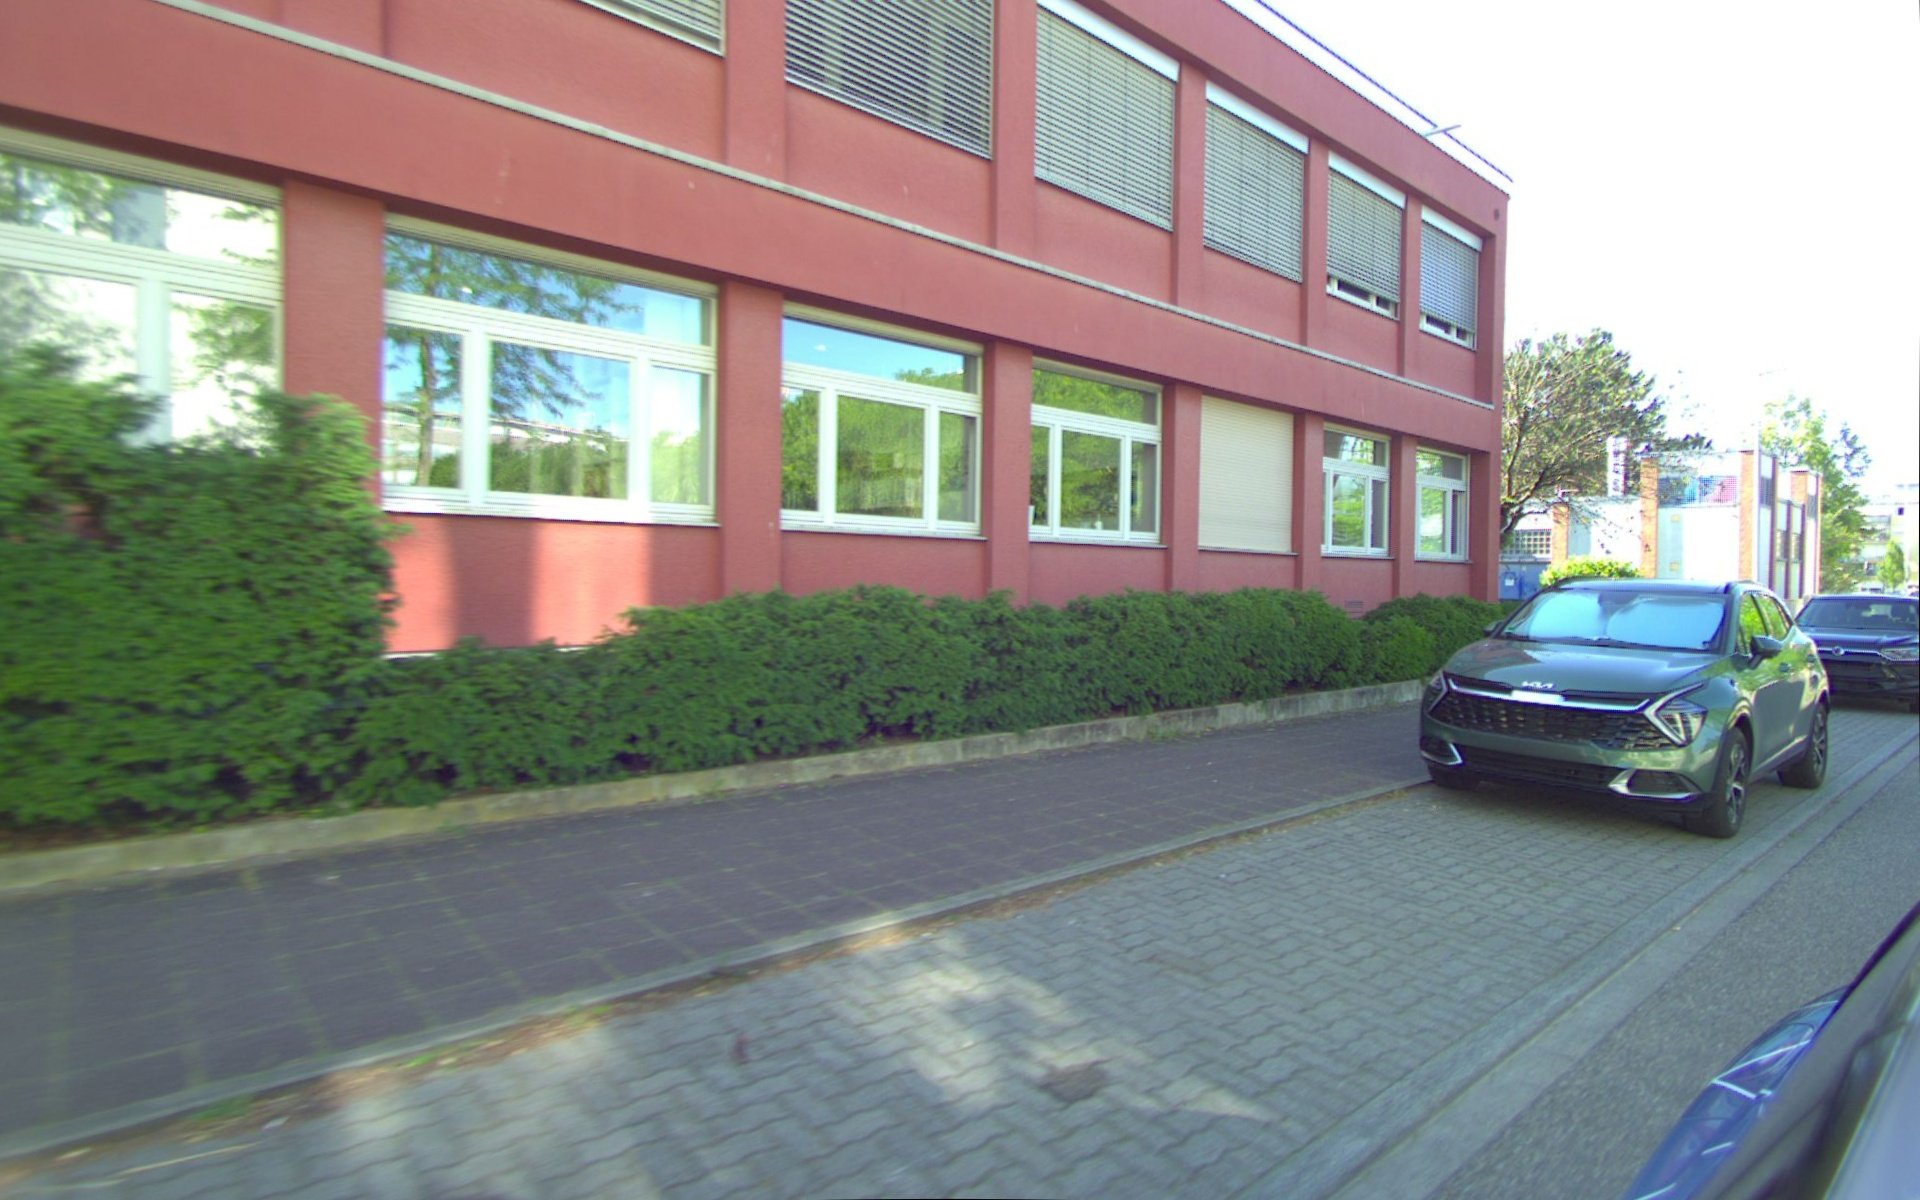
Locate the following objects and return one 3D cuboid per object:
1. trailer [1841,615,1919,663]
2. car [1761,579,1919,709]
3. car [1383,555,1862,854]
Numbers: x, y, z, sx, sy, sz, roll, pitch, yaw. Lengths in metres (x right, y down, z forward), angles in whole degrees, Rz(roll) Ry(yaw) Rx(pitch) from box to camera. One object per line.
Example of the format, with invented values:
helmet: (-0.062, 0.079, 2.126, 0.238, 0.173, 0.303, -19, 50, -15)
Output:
trailer: (21.475, 0.854, 22.382, 2.918, 0.938, 1.571, 1, 2, -14)
car: (13.636, 0.556, 15.036, 4.329, 1.650, 1.878, 0, 2, -40)
car: (5.222, 0.541, 7.738, 4.295, 1.650, 1.902, 0, 2, -40)
